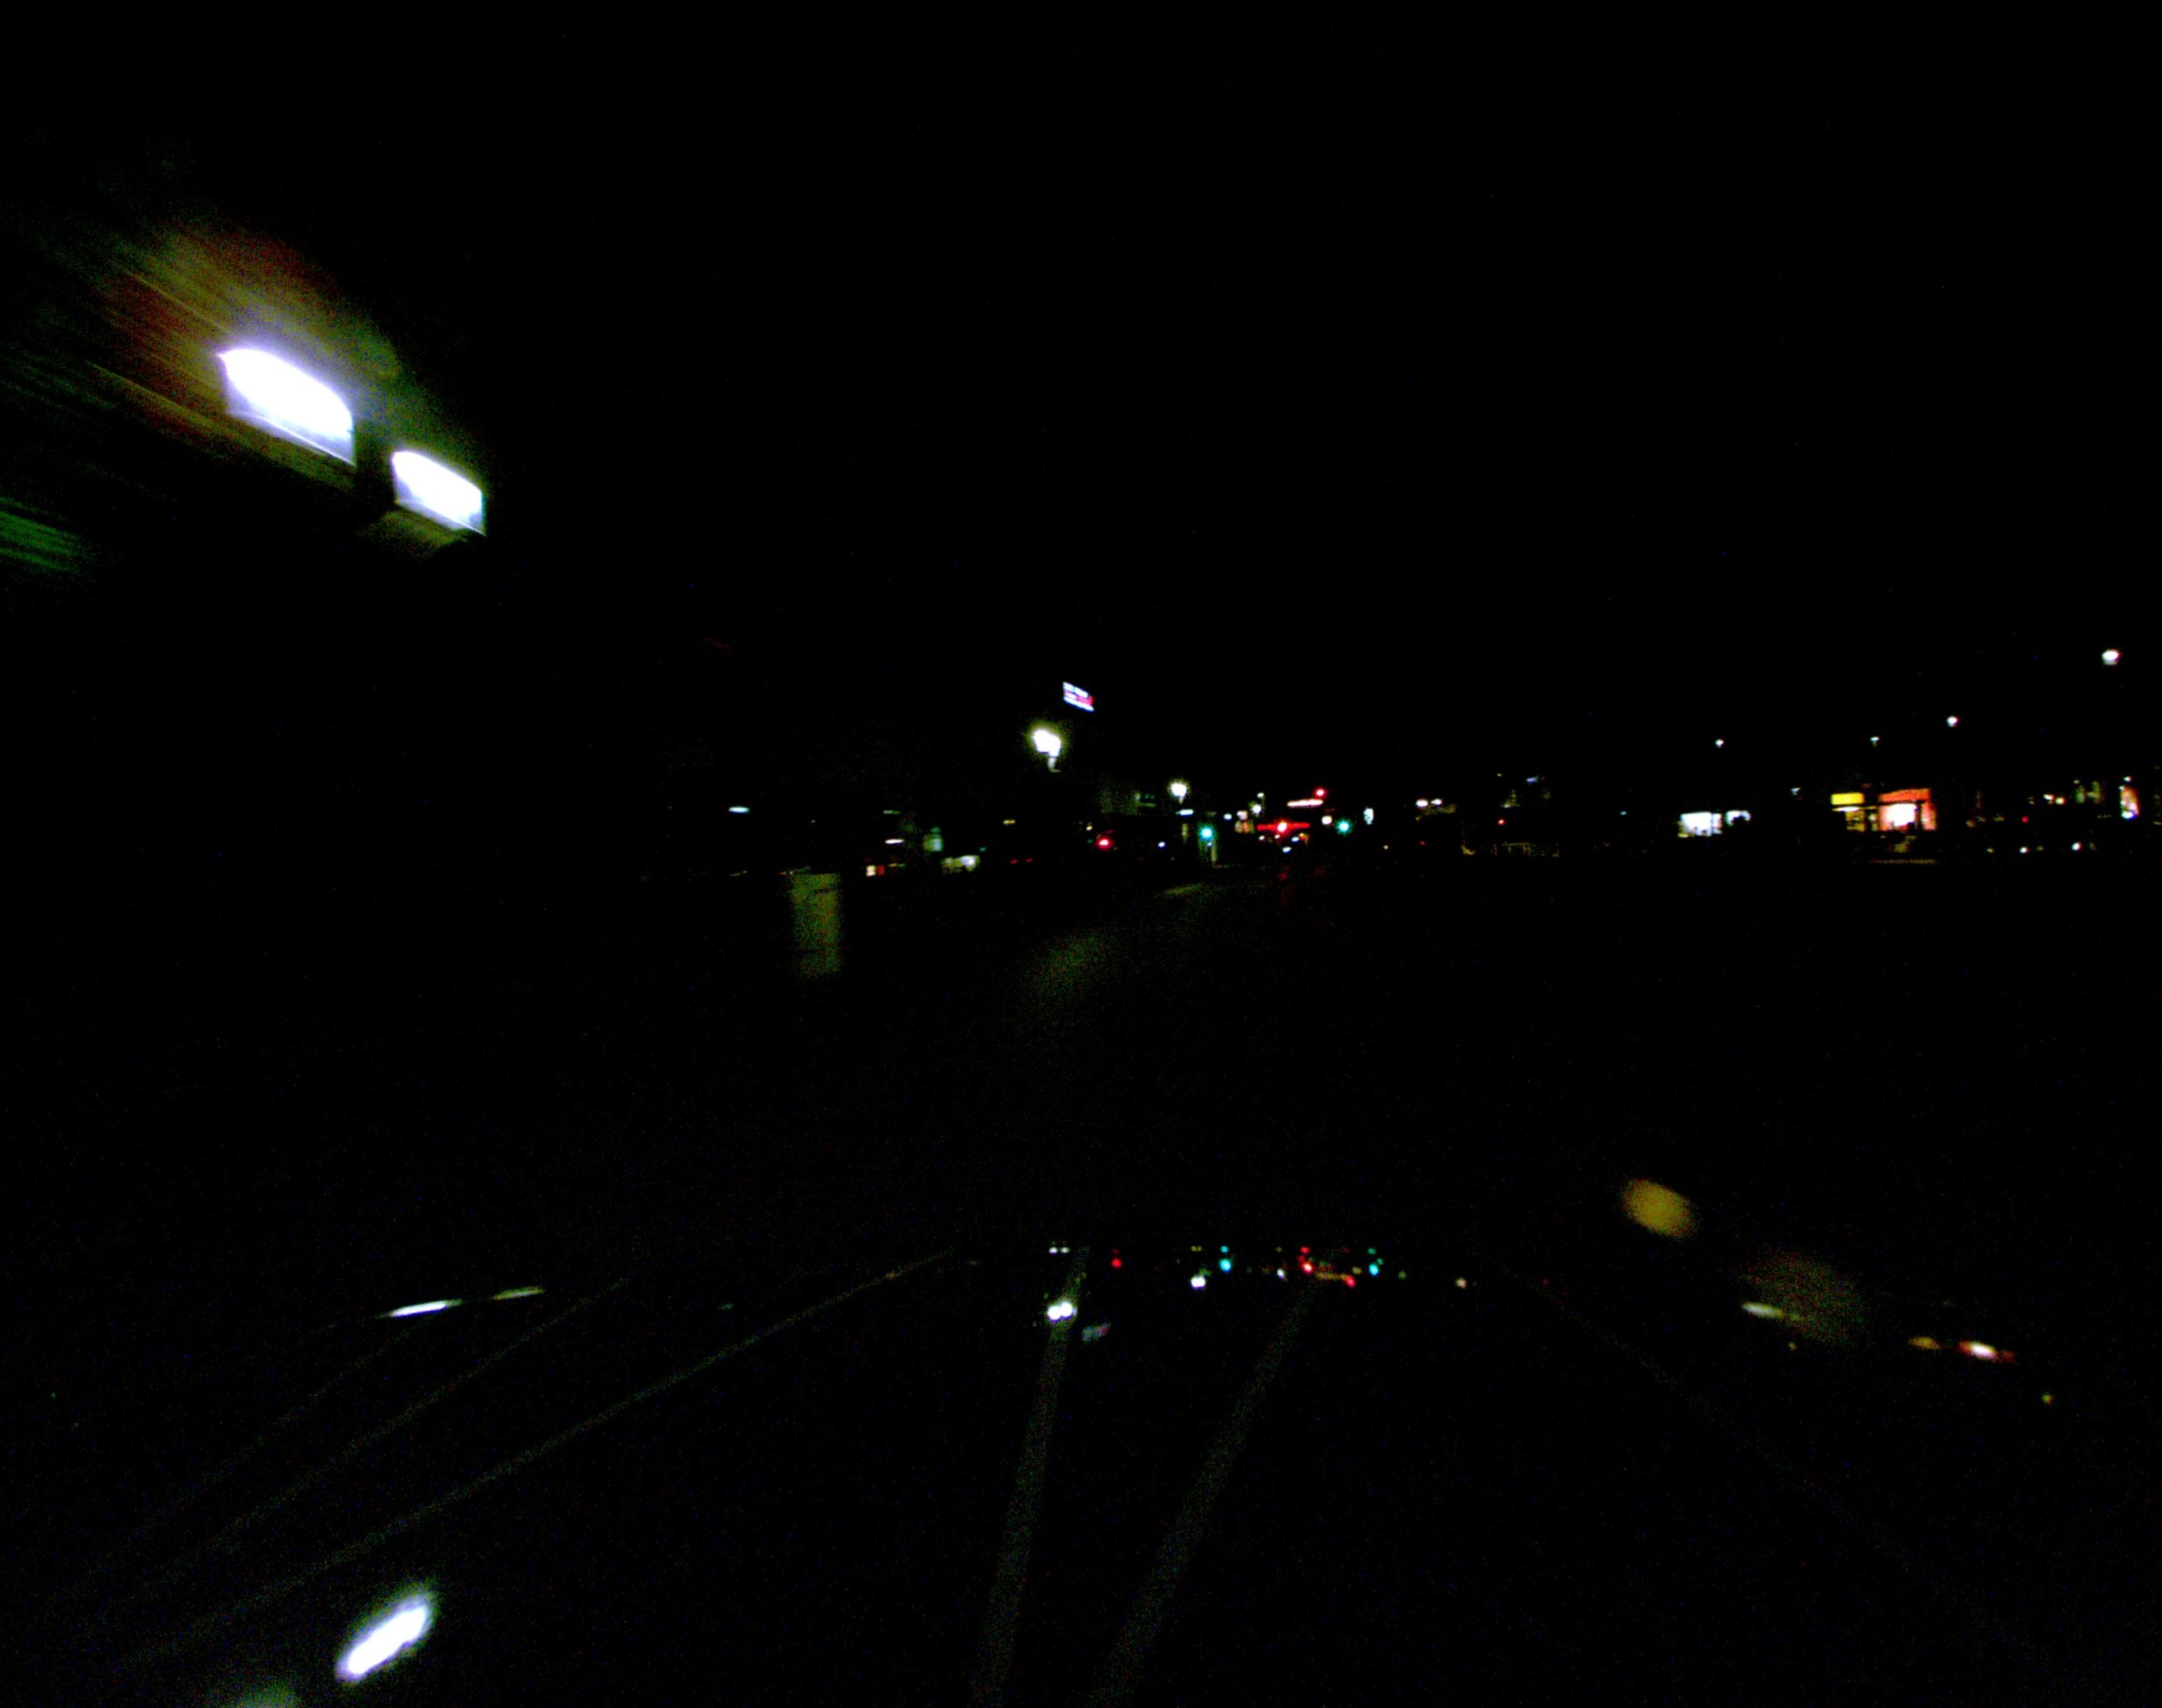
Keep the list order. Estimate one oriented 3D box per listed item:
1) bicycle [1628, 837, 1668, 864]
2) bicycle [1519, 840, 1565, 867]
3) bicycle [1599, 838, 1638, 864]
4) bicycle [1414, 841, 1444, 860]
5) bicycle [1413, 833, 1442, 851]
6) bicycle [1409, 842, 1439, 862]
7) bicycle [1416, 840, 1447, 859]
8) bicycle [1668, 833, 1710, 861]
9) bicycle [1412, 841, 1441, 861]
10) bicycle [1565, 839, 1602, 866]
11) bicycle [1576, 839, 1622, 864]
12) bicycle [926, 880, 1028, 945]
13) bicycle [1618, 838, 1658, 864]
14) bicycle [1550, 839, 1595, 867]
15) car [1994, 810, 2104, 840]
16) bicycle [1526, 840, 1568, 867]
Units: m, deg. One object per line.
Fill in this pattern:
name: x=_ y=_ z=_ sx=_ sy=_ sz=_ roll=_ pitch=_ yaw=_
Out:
bicycle: x=25.460 y=-0.164 z=34.149 sx=0.608 sy=1.159 sz=1.748 roll=-2 pitch=0 yaw=6
bicycle: x=20.061 y=-0.013 z=33.126 sx=0.761 sy=1.155 sz=1.746 roll=-2 pitch=0 yaw=-9
bicycle: x=23.872 y=-0.115 z=33.782 sx=0.608 sy=1.118 sz=1.748 roll=-2 pitch=0 yaw=6
bicycle: x=21.681 y=-0.207 z=47.329 sx=1.617 sy=1.099 sz=0.671 roll=-2 pitch=2 yaw=23
bicycle: x=25.248 y=-0.852 z=55.357 sx=1.736 sy=1.159 sz=0.788 roll=-5 pitch=-1 yaw=28
bicycle: x=20.570 y=-0.118 z=45.565 sx=1.617 sy=1.099 sz=0.671 roll=-3 pitch=2 yaw=23
bicycle: x=22.690 y=-0.275 z=49.148 sx=1.771 sy=1.157 sz=0.671 roll=-2 pitch=1 yaw=23
bicycle: x=27.392 y=-0.320 z=34.282 sx=0.608 sy=1.211 sz=1.748 roll=-2 pitch=0 yaw=6
bicycle: x=21.228 y=-0.172 z=46.705 sx=1.617 sy=1.099 sz=0.671 roll=-3 pitch=1 yaw=23
bicycle: x=22.275 y=-0.078 z=33.738 sx=0.608 sy=1.159 sz=1.748 roll=-2 pitch=0 yaw=6
bicycle: x=23.031 y=-0.090 z=33.831 sx=0.609 sy=1.063 sz=1.745 roll=-2 pitch=0 yaw=-12
bicycle: x=-1.898 y=1.061 z=14.028 sx=1.754 sy=1.056 sz=0.655 roll=-3 pitch=0 yaw=-1
bicycle: x=24.697 y=-0.116 z=33.715 sx=0.608 sy=1.094 sz=1.748 roll=-2 pitch=0 yaw=6
bicycle: x=21.293 y=-0.050 z=32.973 sx=0.609 sy=1.159 sz=1.746 roll=-2 pitch=0 yaw=-9
car: x=68.101 y=-2.006 z=53.575 sx=4.406 sy=1.925 sz=1.964 roll=-2 pitch=0 yaw=38
bicycle: x=20.677 y=-0.024 z=33.754 sx=0.545 sy=1.148 sz=1.746 roll=-2 pitch=0 yaw=-9
